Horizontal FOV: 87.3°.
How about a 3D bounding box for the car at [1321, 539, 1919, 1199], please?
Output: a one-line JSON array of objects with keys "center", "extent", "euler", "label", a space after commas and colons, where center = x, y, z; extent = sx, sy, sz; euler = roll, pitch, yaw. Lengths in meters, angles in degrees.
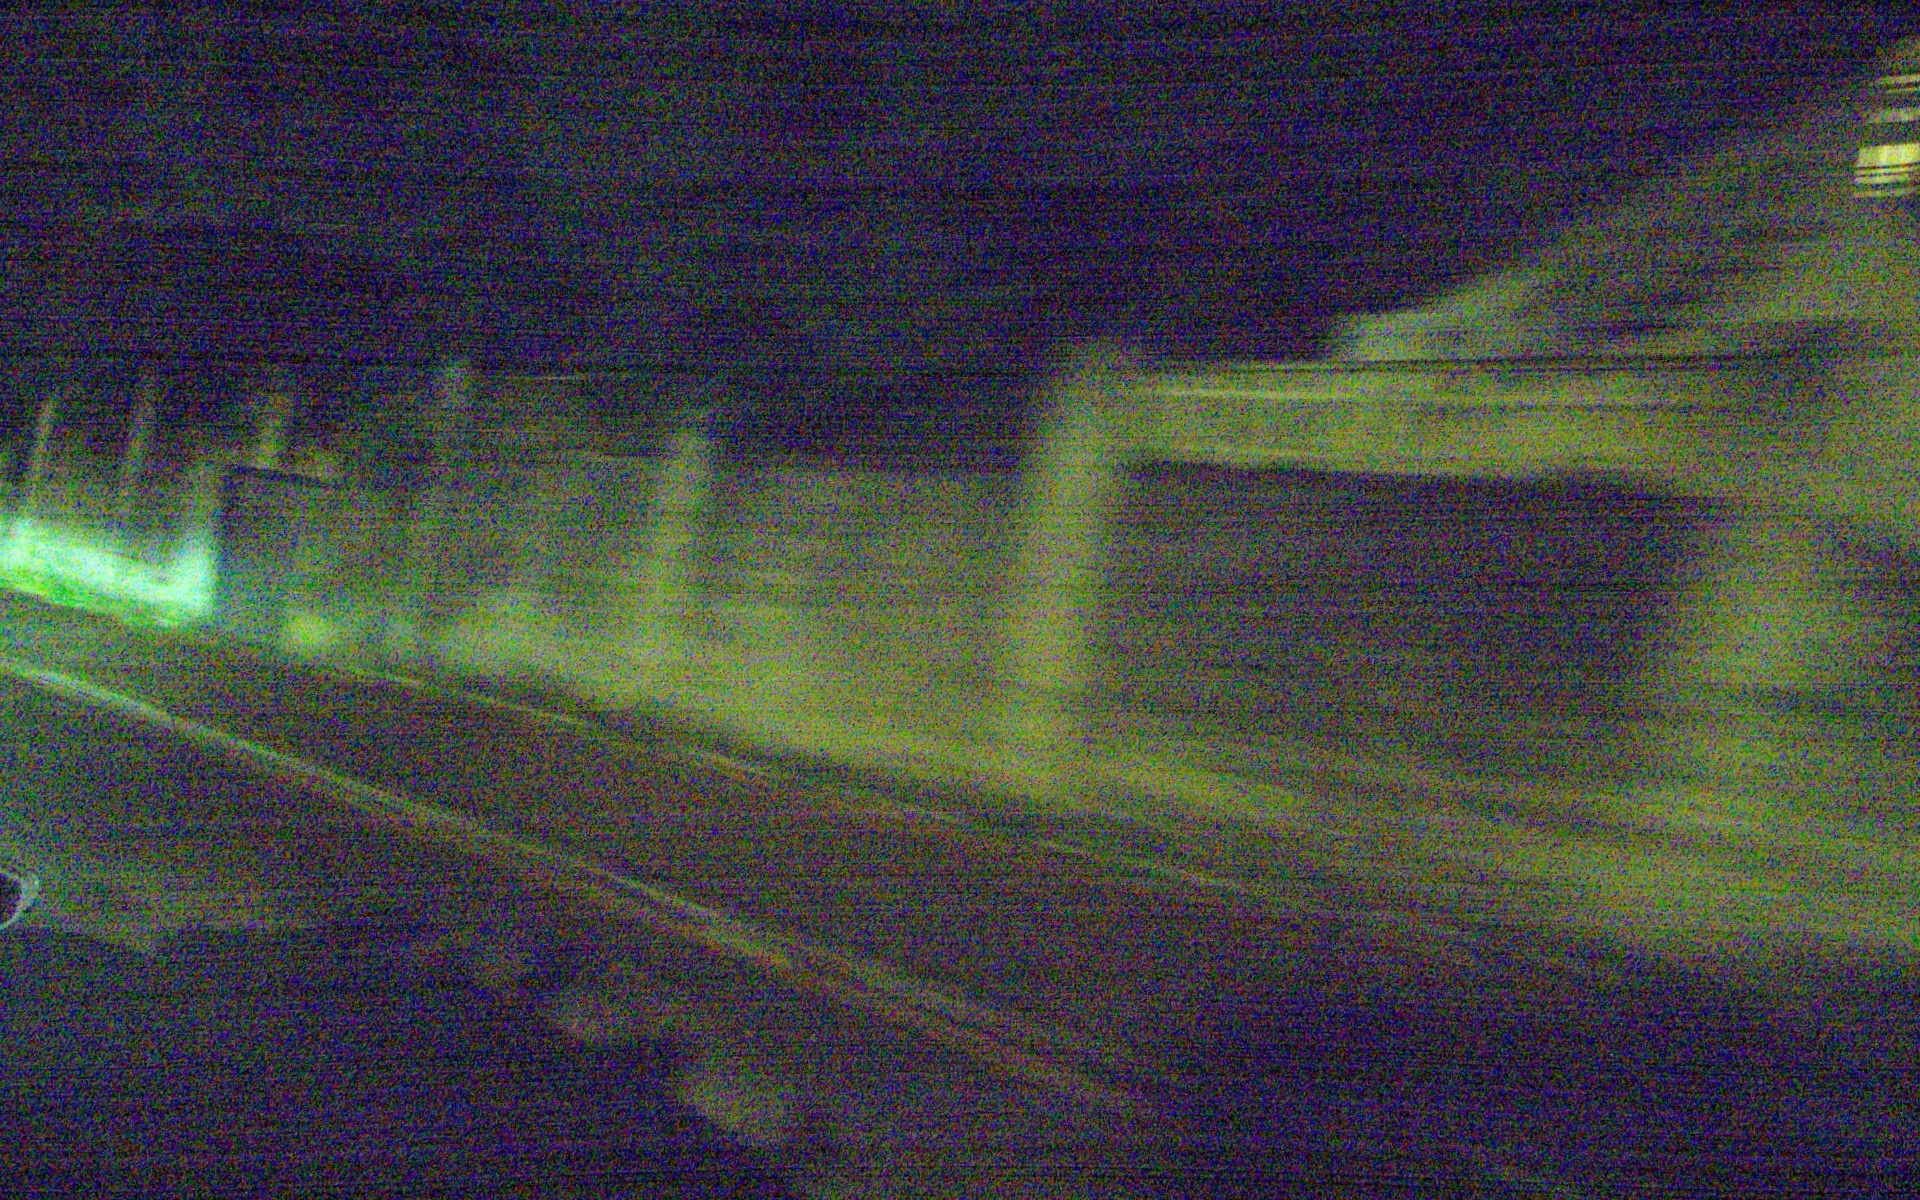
[{"center": [2.812, 1.061, 0.748], "extent": [4.544, 1.683, 1.834], "euler": [7, -1, 34], "label": "car"}]
